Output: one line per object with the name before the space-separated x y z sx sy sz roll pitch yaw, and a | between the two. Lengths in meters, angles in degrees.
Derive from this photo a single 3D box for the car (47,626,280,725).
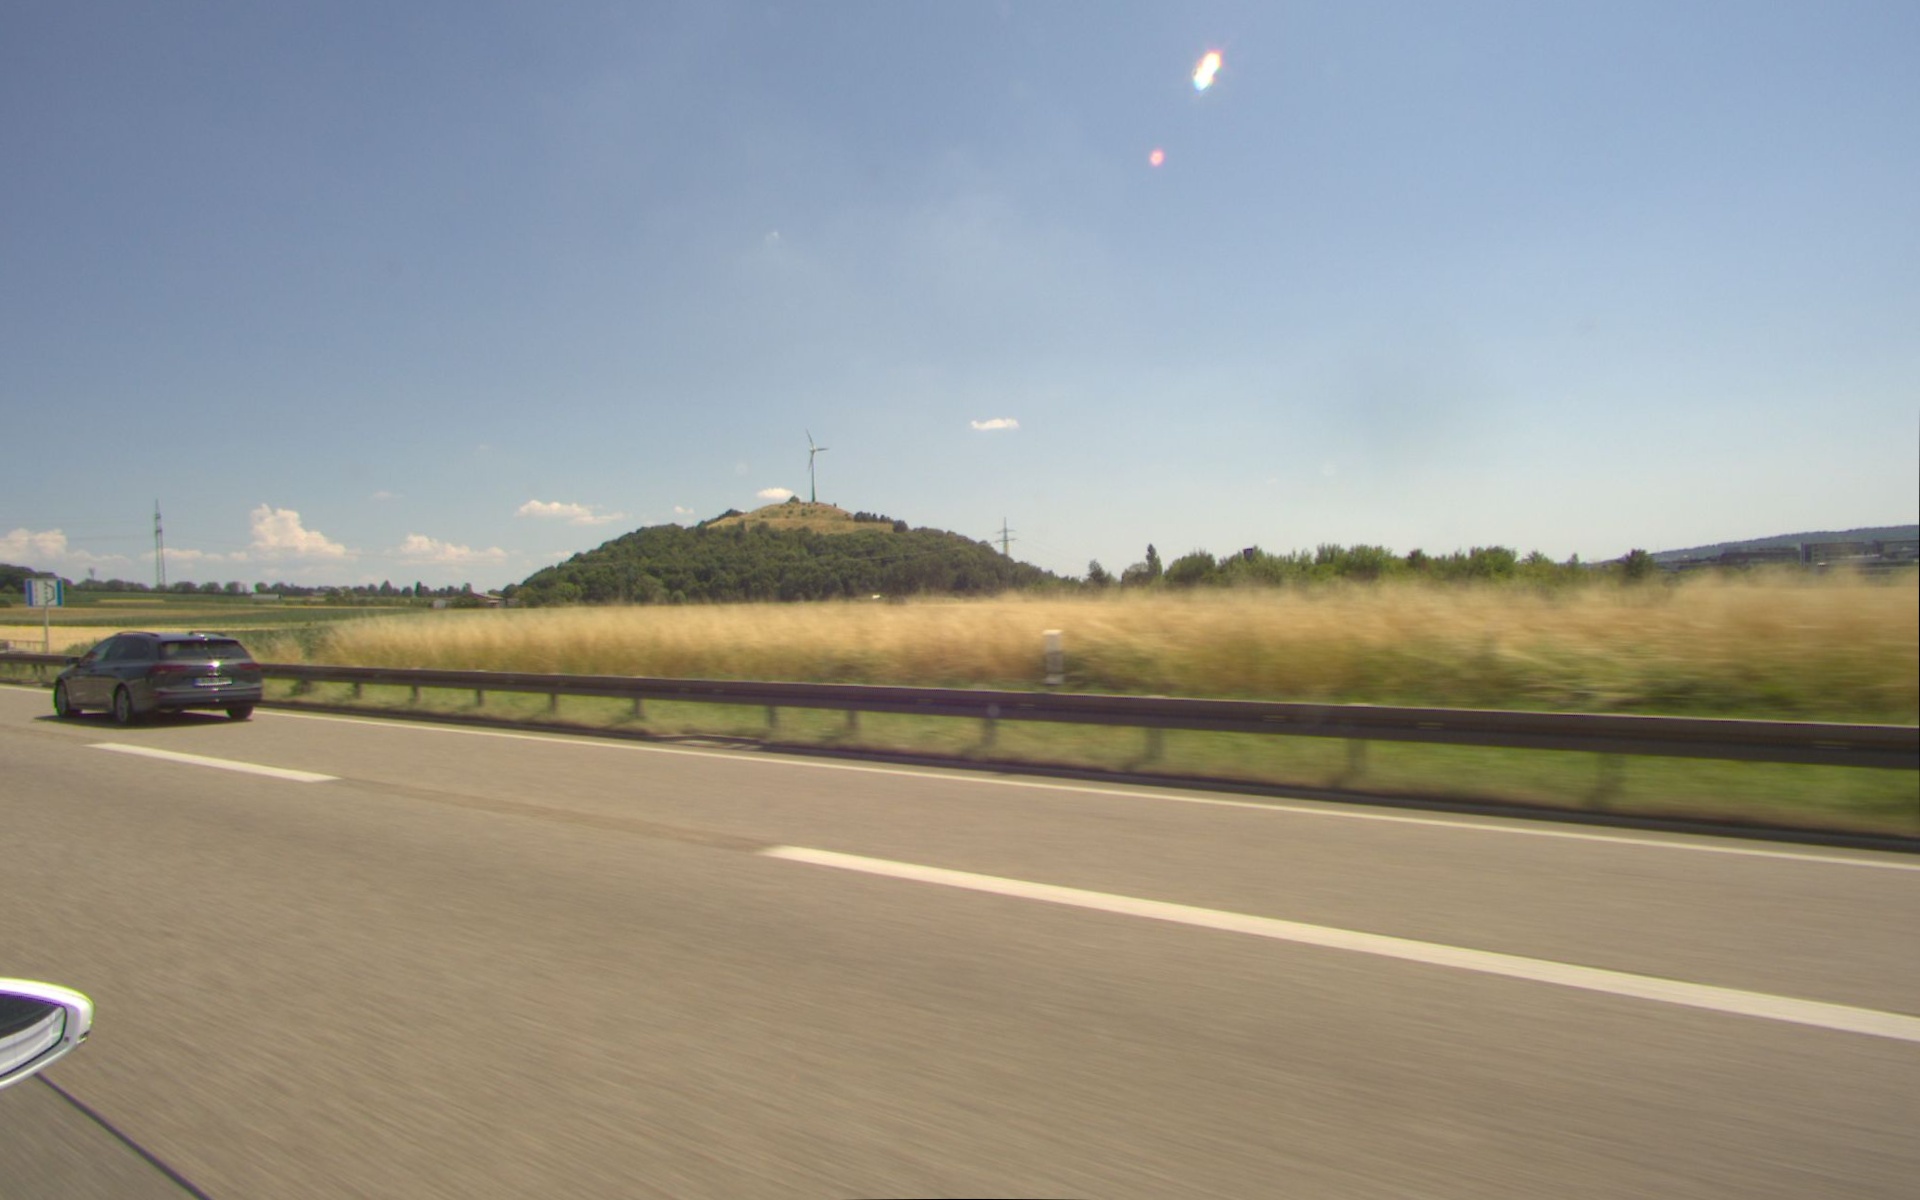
car | -13.547 1.214 16.957 4.473 1.489 1.758 -2 -2 33
